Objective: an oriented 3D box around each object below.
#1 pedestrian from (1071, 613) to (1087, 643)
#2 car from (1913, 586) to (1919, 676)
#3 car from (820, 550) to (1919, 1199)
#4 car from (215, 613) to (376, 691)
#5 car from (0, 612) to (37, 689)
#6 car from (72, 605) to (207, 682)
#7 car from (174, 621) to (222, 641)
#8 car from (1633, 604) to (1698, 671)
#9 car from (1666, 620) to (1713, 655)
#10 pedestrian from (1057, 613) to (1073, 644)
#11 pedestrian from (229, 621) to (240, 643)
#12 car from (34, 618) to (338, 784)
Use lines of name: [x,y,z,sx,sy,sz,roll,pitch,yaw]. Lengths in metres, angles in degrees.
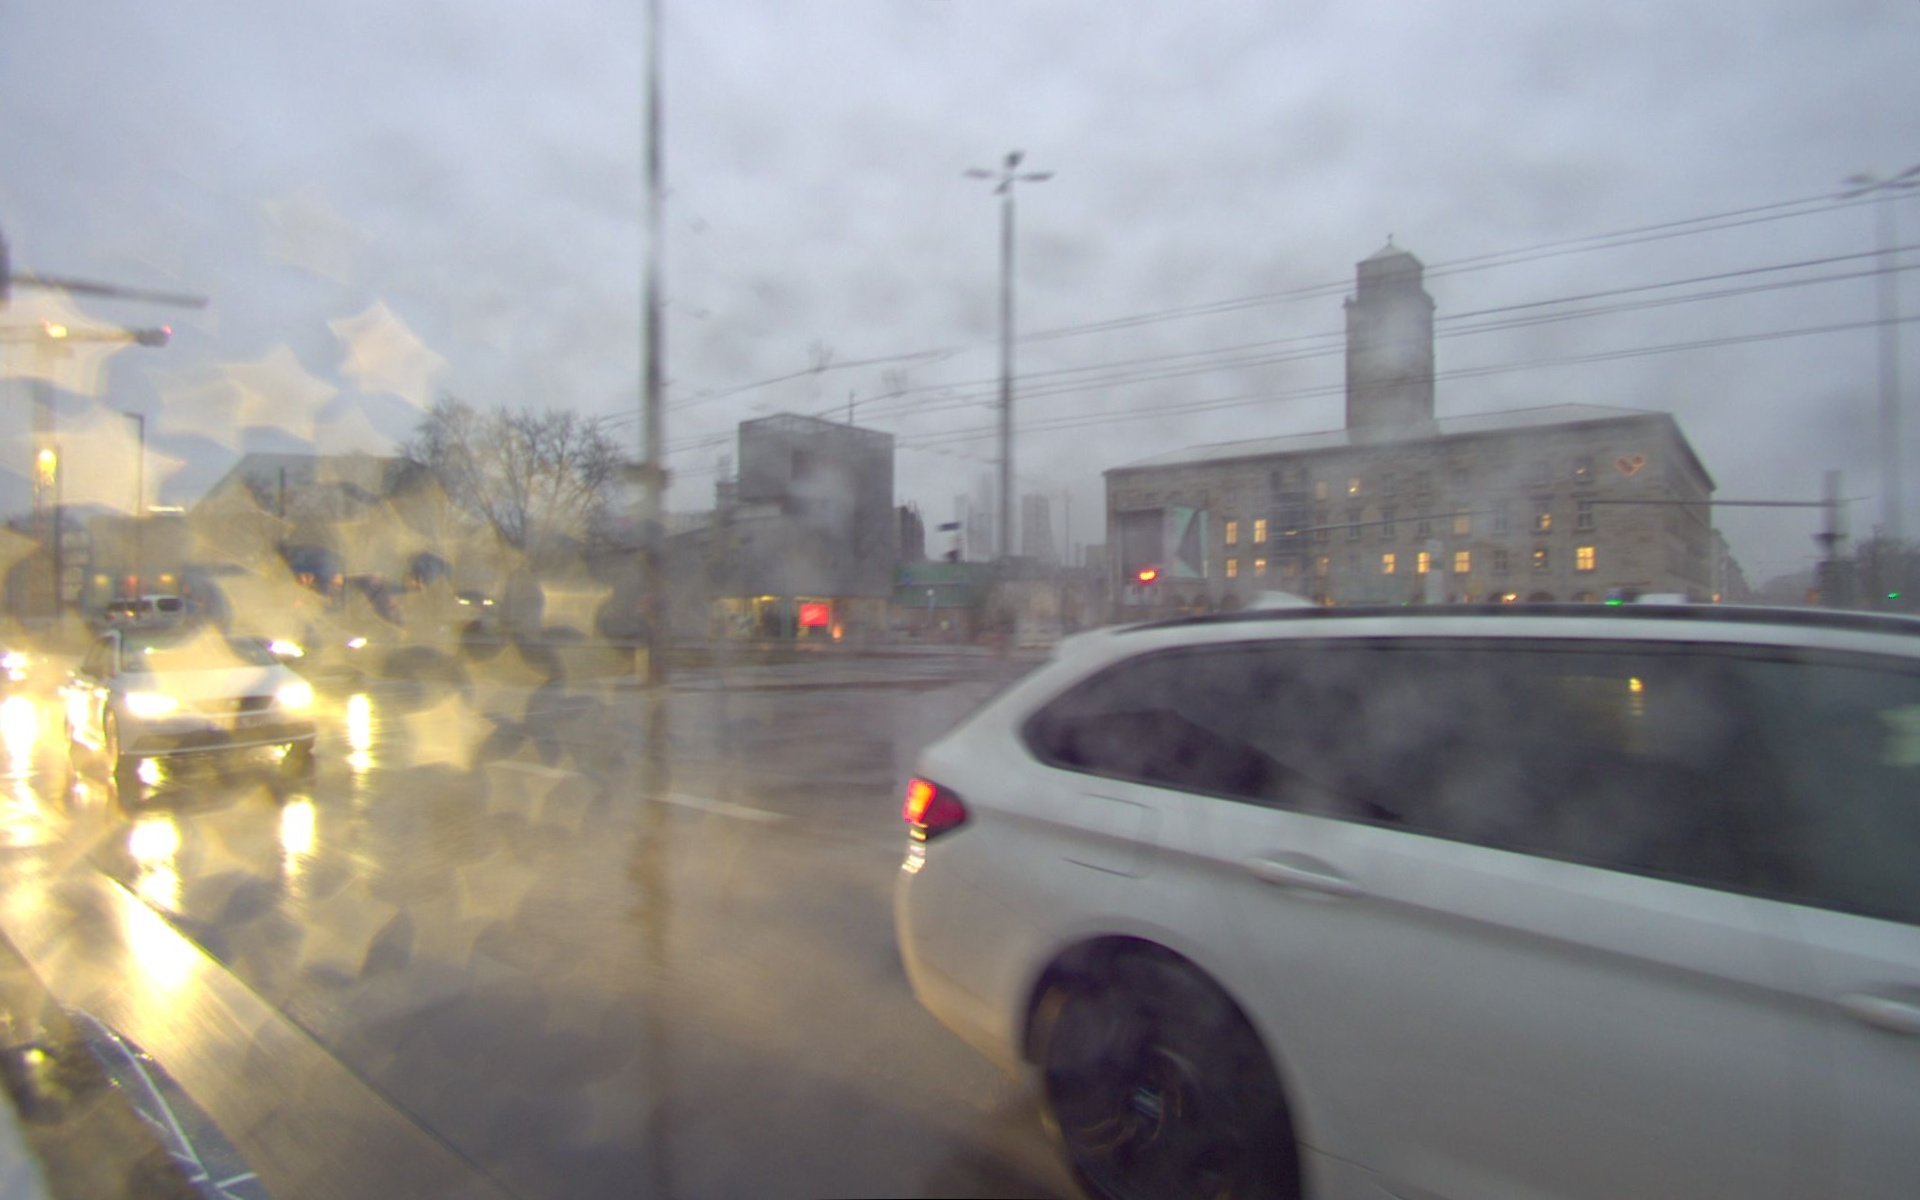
pedestrian: [6.576,1.536,55.933,0.645,1.674,0.743,0,-1,-18]
car: [23.542,0.674,21.218,4.769,2.029,1.981,-1,0,28]
car: [2.062,0.683,1.989,4.943,1.476,1.833,-1,-2,41]
car: [-14.842,1.105,22.548,3.922,1.541,1.779,-2,0,37]
car: [-22.932,1.136,23.183,3.994,1.695,1.975,-1,0,37]
car: [-22.120,1.134,27.235,3.994,1.896,1.930,-2,0,37]
car: [-56.958,2.284,75.623,3.874,1.430,1.764,-1,0,35]
car: [31.091,1.575,44.556,1.998,2.732,4.381,-1,0,40]
car: [43.852,2.194,60.775,1.998,1.893,4.381,-1,0,40]
pedestrian: [5.790,1.570,55.702,0.645,1.678,0.743,0,-1,-18]
pedestrian: [-56.376,2.506,78.647,0.497,1.681,0.496,-1,0,26]
car: [-8.722,0.979,11.280,4.135,1.484,1.792,-1,0,39]
